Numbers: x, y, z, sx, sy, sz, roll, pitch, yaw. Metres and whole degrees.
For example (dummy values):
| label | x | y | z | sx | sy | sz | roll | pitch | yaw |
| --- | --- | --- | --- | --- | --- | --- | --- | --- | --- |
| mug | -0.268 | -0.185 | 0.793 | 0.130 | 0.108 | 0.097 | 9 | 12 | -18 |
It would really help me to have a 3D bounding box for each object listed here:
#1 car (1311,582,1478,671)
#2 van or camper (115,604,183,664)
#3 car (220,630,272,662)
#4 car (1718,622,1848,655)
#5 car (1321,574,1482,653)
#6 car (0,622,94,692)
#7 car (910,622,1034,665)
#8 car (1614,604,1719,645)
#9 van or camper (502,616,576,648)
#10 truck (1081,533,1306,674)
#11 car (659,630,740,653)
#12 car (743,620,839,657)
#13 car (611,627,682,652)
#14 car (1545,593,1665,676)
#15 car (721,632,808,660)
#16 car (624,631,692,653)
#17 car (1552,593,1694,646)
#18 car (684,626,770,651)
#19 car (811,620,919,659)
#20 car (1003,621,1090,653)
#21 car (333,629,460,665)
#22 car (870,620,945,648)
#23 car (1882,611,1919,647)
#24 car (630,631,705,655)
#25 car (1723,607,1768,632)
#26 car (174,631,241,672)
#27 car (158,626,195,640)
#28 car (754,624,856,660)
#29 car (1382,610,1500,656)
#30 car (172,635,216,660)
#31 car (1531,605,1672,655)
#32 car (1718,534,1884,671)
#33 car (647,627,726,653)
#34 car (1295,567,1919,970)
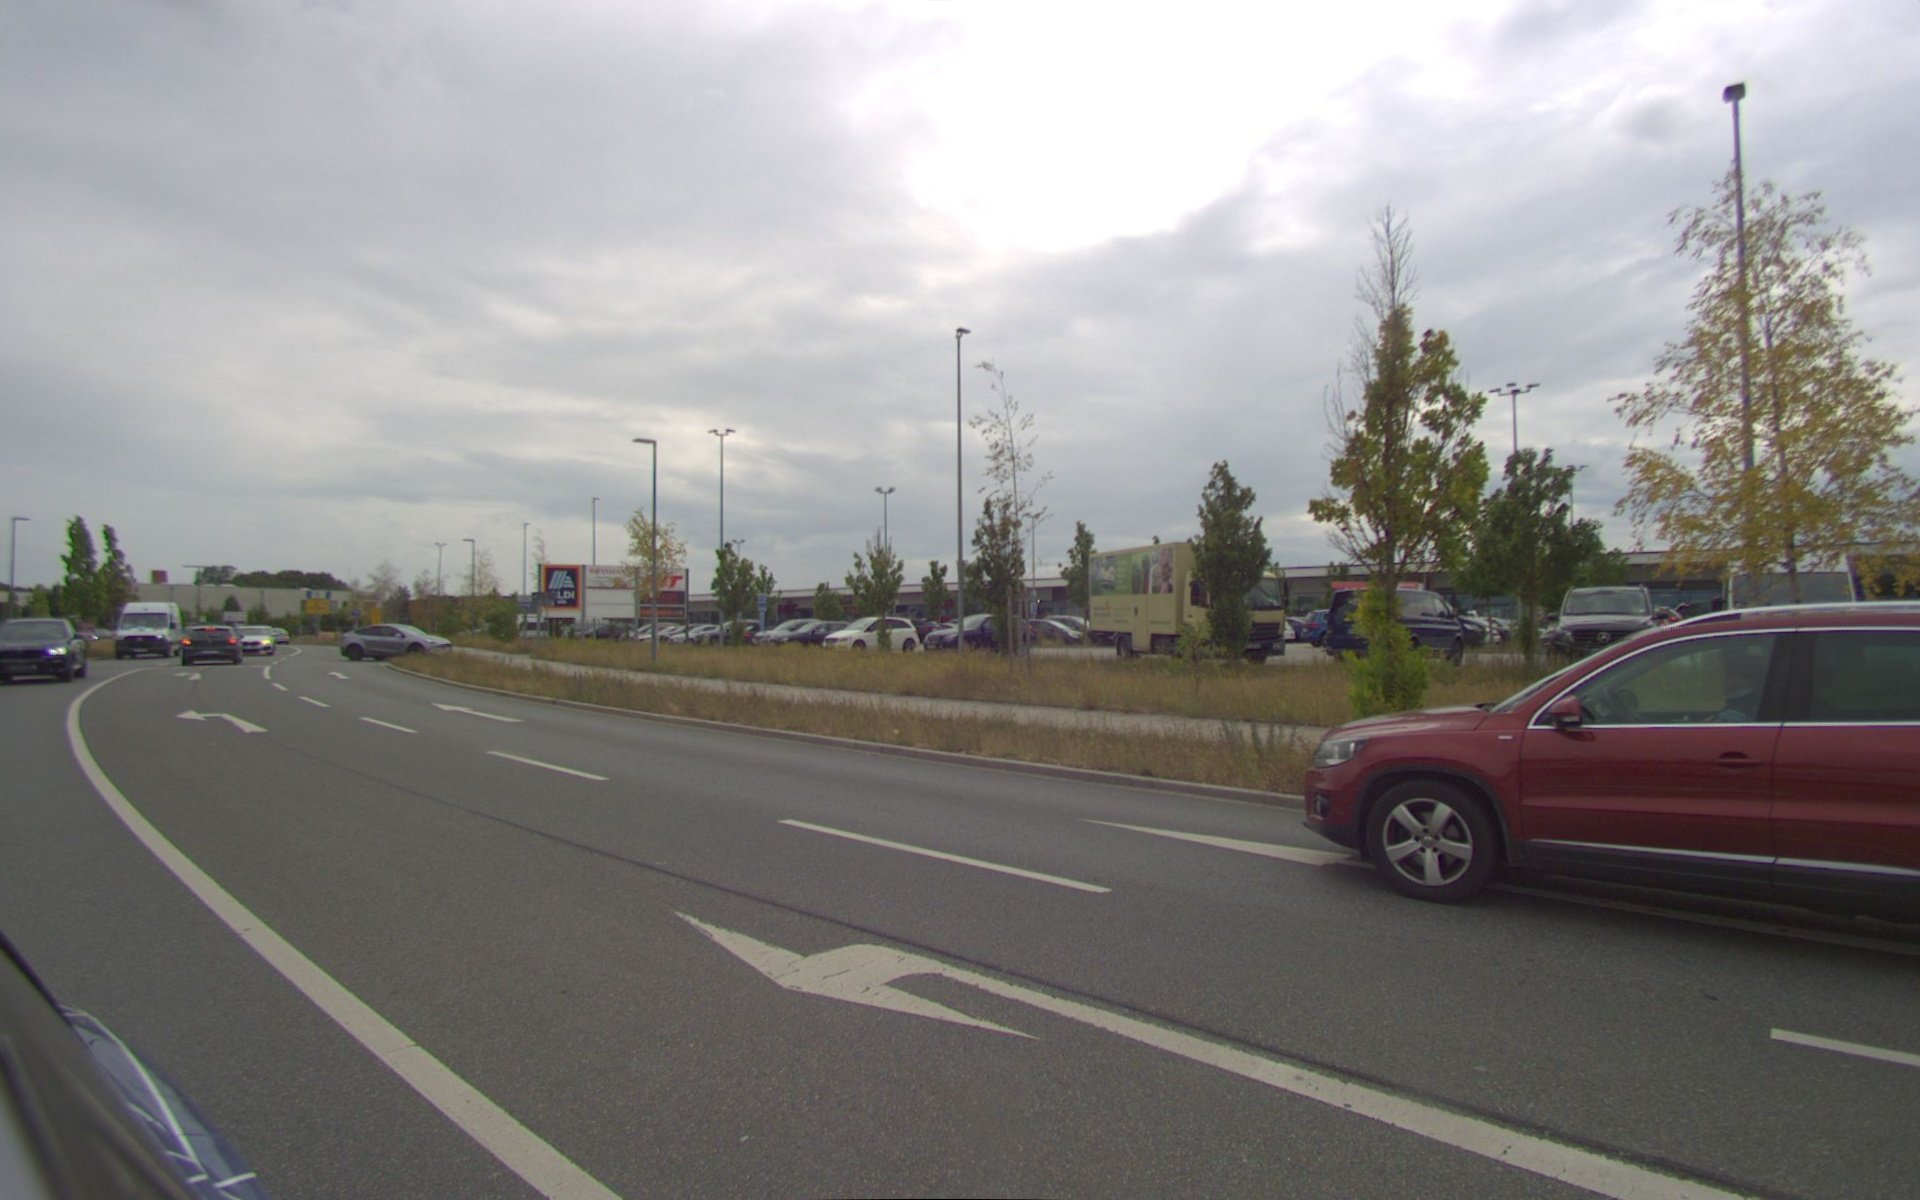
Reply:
| label | x | y | z | sx | sy | sz | roll | pitch | yaw |
| --- | --- | --- | --- | --- | --- | --- | --- | --- | --- |
| car | 11.025 | 0.678 | 25.489 | 4.845 | 2.005 | 2.180 | 2 | -3 | -44 |
| van or camper | -38.387 | 1.636 | 48.024 | 2.228 | 2.637 | 5.709 | 2 | -3 | -36 |
| car | -35.026 | 2.242 | 49.709 | 1.854 | 1.480 | 4.205 | 1 | -2 | -32 |
| car | 42.438 | 1.988 | 52.368 | 5.048 | 1.663 | 1.975 | -1 | -3 | 37 |
| car | 16.074 | 0.569 | 36.979 | 5.128 | 2.711 | 2.042 | -2 | -3 | 32 |
| car | -24.433 | 1.465 | 26.464 | 1.966 | 1.677 | 4.012 | 0 | -2 | -29 |
| car | 0.461 | 1.545 | 36.428 | 4.178 | 1.446 | 2.001 | 2 | -3 | -39 |
| car | 35.898 | 1.268 | 51.499 | 1.968 | 2.029 | 4.007 | 2 | -3 | -39 |
| van or camper | -38.464 | 2.941 | 92.579 | 5.781 | 2.821 | 2.246 | 2 | -3 | -42 |
| truck | 6.516 | 0.199 | 30.068 | 2.810 | 3.568 | 8.452 | 0 | -2 | -15 |
| car | -15.646 | 2.469 | 60.806 | 4.255 | 1.350 | 2.032 | 1 | -3 | -36 |
| car | -8.211 | 1.873 | 49.373 | 4.187 | 1.736 | 2.033 | 1 | -2 | -37 |
| car | -21.790 | 2.736 | 70.341 | 4.243 | 1.667 | 2.086 | 1 | -3 | -35 |
| car | 14.332 | 0.759 | 22.364 | 1.990 | 1.629 | 4.859 | -1 | -2 | 35 |
| car | -10.367 | 2.424 | 53.716 | 4.160 | 1.449 | 1.779 | 1 | -2 | -34 |
| car | -20.355 | 2.817 | 68.216 | 4.028 | 1.402 | 2.006 | 1 | -3 | -31 |
| car | 24.394 | 0.756 | 37.420 | 4.254 | 1.863 | 1.978 | -1 | -2 | 33 |
| car | -13.271 | 2.197 | 57.585 | 4.297 | 1.402 | 2.171 | 1 | -3 | -31 |
| car | -3.962 | 1.671 | 42.620 | 4.195 | 1.571 | 1.991 | 2 | -3 | -42 |
| car | 4.425 | 1.915 | 51.941 | 3.991 | 1.619 | 1.976 | -2 | -3 | 35 |
| car | -25.100 | 2.099 | 45.176 | 4.549 | 1.573 | 1.999 | 0 | -2 | 1 |
| car | -3.357 | 2.146 | 63.938 | 4.576 | 1.760 | 1.975 | -2 | -2 | 37 |
| car | 45.159 | 1.330 | 46.419 | 3.993 | 1.663 | 1.975 | -1 | -3 | 37 |
| car | -19.080 | 2.803 | 66.076 | 4.260 | 1.468 | 2.016 | 1 | -3 | -34 |
| car | 52.968 | 1.317 | 68.219 | 2.000 | 1.619 | 3.943 | -2 | -3 | 43 |
| car | -27.868 | 1.879 | 37.595 | 1.805 | 1.431 | 4.256 | 1 | -2 | -34 |
| car | -115.372 | 4.787 | 149.056 | 1.629 | 2.029 | 3.976 | -1 | -2 | 18 |
| car | -7.175 | 1.917 | 46.837 | 4.184 | 1.525 | 2.052 | 0 | -2 | -32 |
| car | 19.405 | 1.361 | 40.865 | 3.991 | 1.742 | 1.976 | -2 | -3 | 35 |
| car | -51.533 | 3.152 | 68.100 | 4.000 | 1.597 | 1.732 | -2 | -2 | 43 |
| car | 22.052 | 1.037 | 34.914 | 3.988 | 1.614 | 1.655 | -1 | -2 | 33 |
| car | 16.639 | 0.121 | 20.312 | 2.207 | 2.324 | 6.012 | -2 | -2 | 37 |
| car | -17.137 | 2.501 | 63.365 | 4.305 | 1.517 | 2.246 | 1 | -3 | -32 |
| car | 4.203 | 0.774 | 5.290 | 4.324 | 1.682 | 1.780 | -2 | -5 | 41 |
